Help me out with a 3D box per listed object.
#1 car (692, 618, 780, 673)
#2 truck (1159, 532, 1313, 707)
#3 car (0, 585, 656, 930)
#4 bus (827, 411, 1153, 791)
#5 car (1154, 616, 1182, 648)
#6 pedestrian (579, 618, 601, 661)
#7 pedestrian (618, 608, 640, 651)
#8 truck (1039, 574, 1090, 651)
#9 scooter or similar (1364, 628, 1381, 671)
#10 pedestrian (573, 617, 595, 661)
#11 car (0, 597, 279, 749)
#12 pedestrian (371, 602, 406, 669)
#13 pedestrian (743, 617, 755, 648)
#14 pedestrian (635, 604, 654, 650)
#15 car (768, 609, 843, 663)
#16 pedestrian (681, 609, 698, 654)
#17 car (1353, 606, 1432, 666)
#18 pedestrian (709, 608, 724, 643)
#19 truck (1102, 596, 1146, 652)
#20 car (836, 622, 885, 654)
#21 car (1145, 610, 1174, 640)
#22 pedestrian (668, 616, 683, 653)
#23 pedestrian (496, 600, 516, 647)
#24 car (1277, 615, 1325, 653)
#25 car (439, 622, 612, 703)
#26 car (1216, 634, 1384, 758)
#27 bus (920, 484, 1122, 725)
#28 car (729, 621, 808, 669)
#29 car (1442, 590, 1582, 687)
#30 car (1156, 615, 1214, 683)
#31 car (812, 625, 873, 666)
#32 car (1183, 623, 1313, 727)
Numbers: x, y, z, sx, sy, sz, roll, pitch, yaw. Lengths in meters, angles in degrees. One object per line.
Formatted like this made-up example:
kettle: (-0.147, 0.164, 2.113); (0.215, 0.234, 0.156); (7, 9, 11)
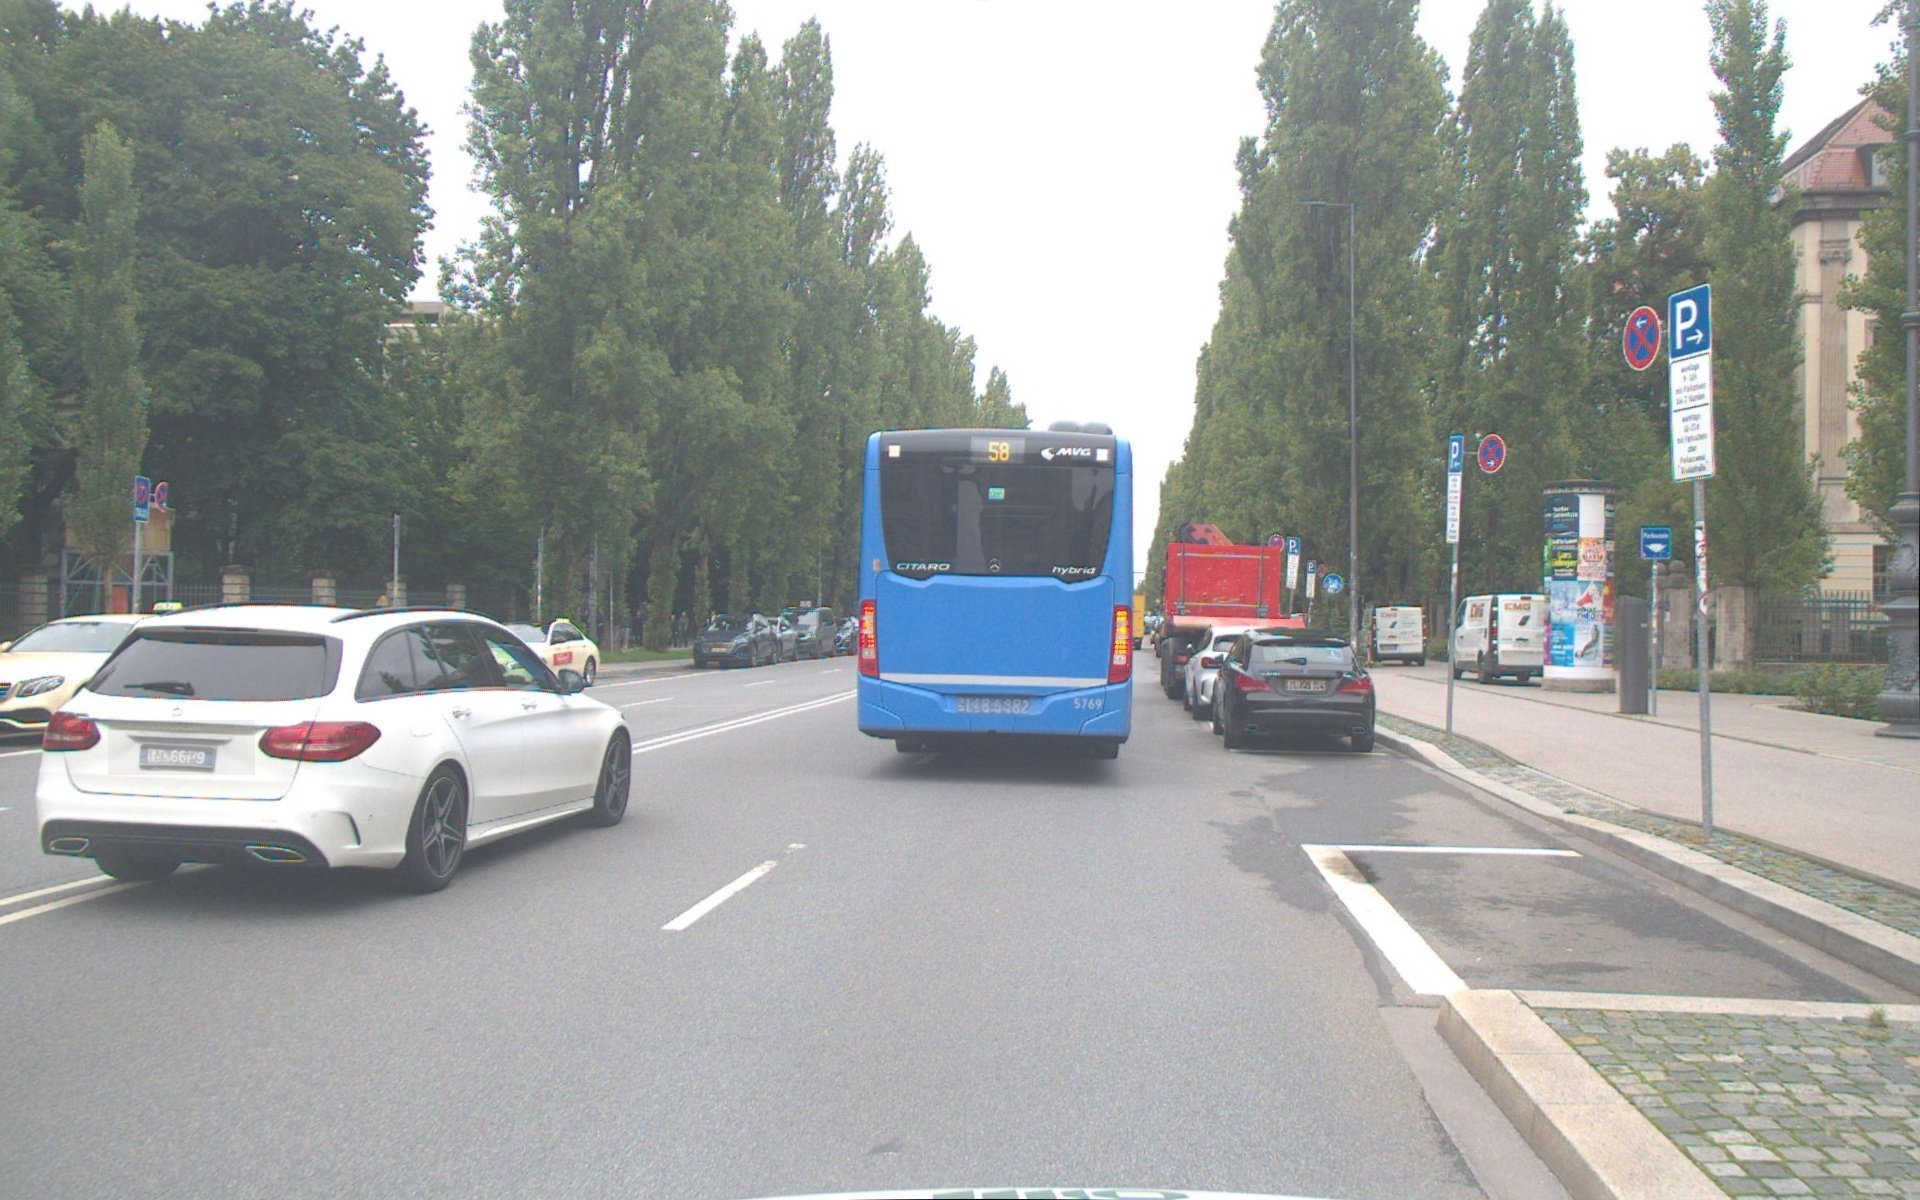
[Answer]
car: (-7.160, 1.434, 53.373); (1.744, 1.624, 4.616); (-2, -1, 6)
truck: (5.624, 0.421, 35.190); (2.656, 3.164, 10.433); (0, -1, 6)
car: (-3.327, 0.731, 9.658); (1.787, 1.480, 4.585); (1, -1, 6)
bus: (0.541, 0.054, 18.960); (2.796, 3.270, 9.063); (1, -1, 4)
car: (13.580, 2.085, 108.232); (1.768, 2.011, 4.239); (1, -1, 6)
pedestrian: (-15.307, 1.622, 68.408); (0.652, 1.752, 0.733); (0, -1, 7)
pedestrian: (-14.669, 1.288, 73.326); (0.731, 1.887, 0.758); (1, -1, 7)
truck: (5.871, 0.715, 92.383); (2.659, 4.035, 9.222); (0, -1, 4)
scooter or similar: (12.574, 1.491, 50.434); (0.329, 1.288, 1.186); (0, -1, 7)
pedestrian: (-14.649, 1.527, 64.430); (0.605, 1.689, 0.705); (1, -1, 7)
car: (-10.605, 0.861, 20.461); (1.896, 1.653, 4.968); (0, -2, 6)
pedestrian: (-15.151, 0.939, 43.889); (0.570, 1.750, 0.787); (1, -1, 5)
pedestrian: (-12.145, 1.860, 95.230); (0.538, 1.778, 0.673); (1, -1, 5)
pedestrian: (-14.054, 1.199, 73.638); (0.652, 2.049, 0.639); (1, -1, 5)
car: (-5.994, 1.371, 64.687); (1.951, 1.991, 4.940); (-1, -1, 6)
pedestrian: (-12.644, 1.473, 77.393); (0.611, 2.049, 0.596); (1, -1, 8)
car: (14.937, 1.240, 57.314); (1.951, 1.980, 5.086); (0, -1, 7)
pedestrian: (-12.287, 1.285, 83.377); (0.595, 1.788, 0.757); (0, -1, 5)
truck: (9.027, 1.328, 91.365); (2.278, 2.949, 7.337); (1, -1, 5)
car: (-4.673, 1.790, 78.167); (1.641, 1.447, 4.240); (-1, -1, 6)
car: (14.035, 1.742, 116.508); (2.009, 2.049, 5.696); (0, -1, 6)
pedestrian: (-13.320, 1.617, 77.392); (0.498, 1.737, 0.570); (1, -1, 7)
pedestrian: (-19.843, 1.023, 72.297); (0.682, 2.049, 0.561); (1, -1, 6)
car: (18.295, 1.801, 88.934); (1.951, 1.959, 5.327); (1, -1, 5)
car: (-9.046, 1.258, 34.878); (1.890, 1.523, 4.793); (0, 0, 7)
car: (4.139, 1.114, 20.711); (1.698, 1.333, 4.373); (0, -1, 7)
bus: (1.216, 0.126, 28.174); (2.811, 3.362, 9.793); (1, -1, 4)
car: (-6.765, 1.569, 58.883); (1.850, 1.612, 4.657); (-1, -1, 6)
car: (12.411, 0.846, 37.486); (1.841, 1.979, 4.887); (2, -1, 5)
car: (8.867, 1.878, 65.623); (2.030, 2.522, 6.287); (1, -1, 6)
car: (-5.016, 1.949, 71.237); (1.777, 1.637, 5.056); (-2, -1, 6)
car: (4.580, 1.147, 26.799); (1.750, 1.485, 4.220); (1, -1, 6)
